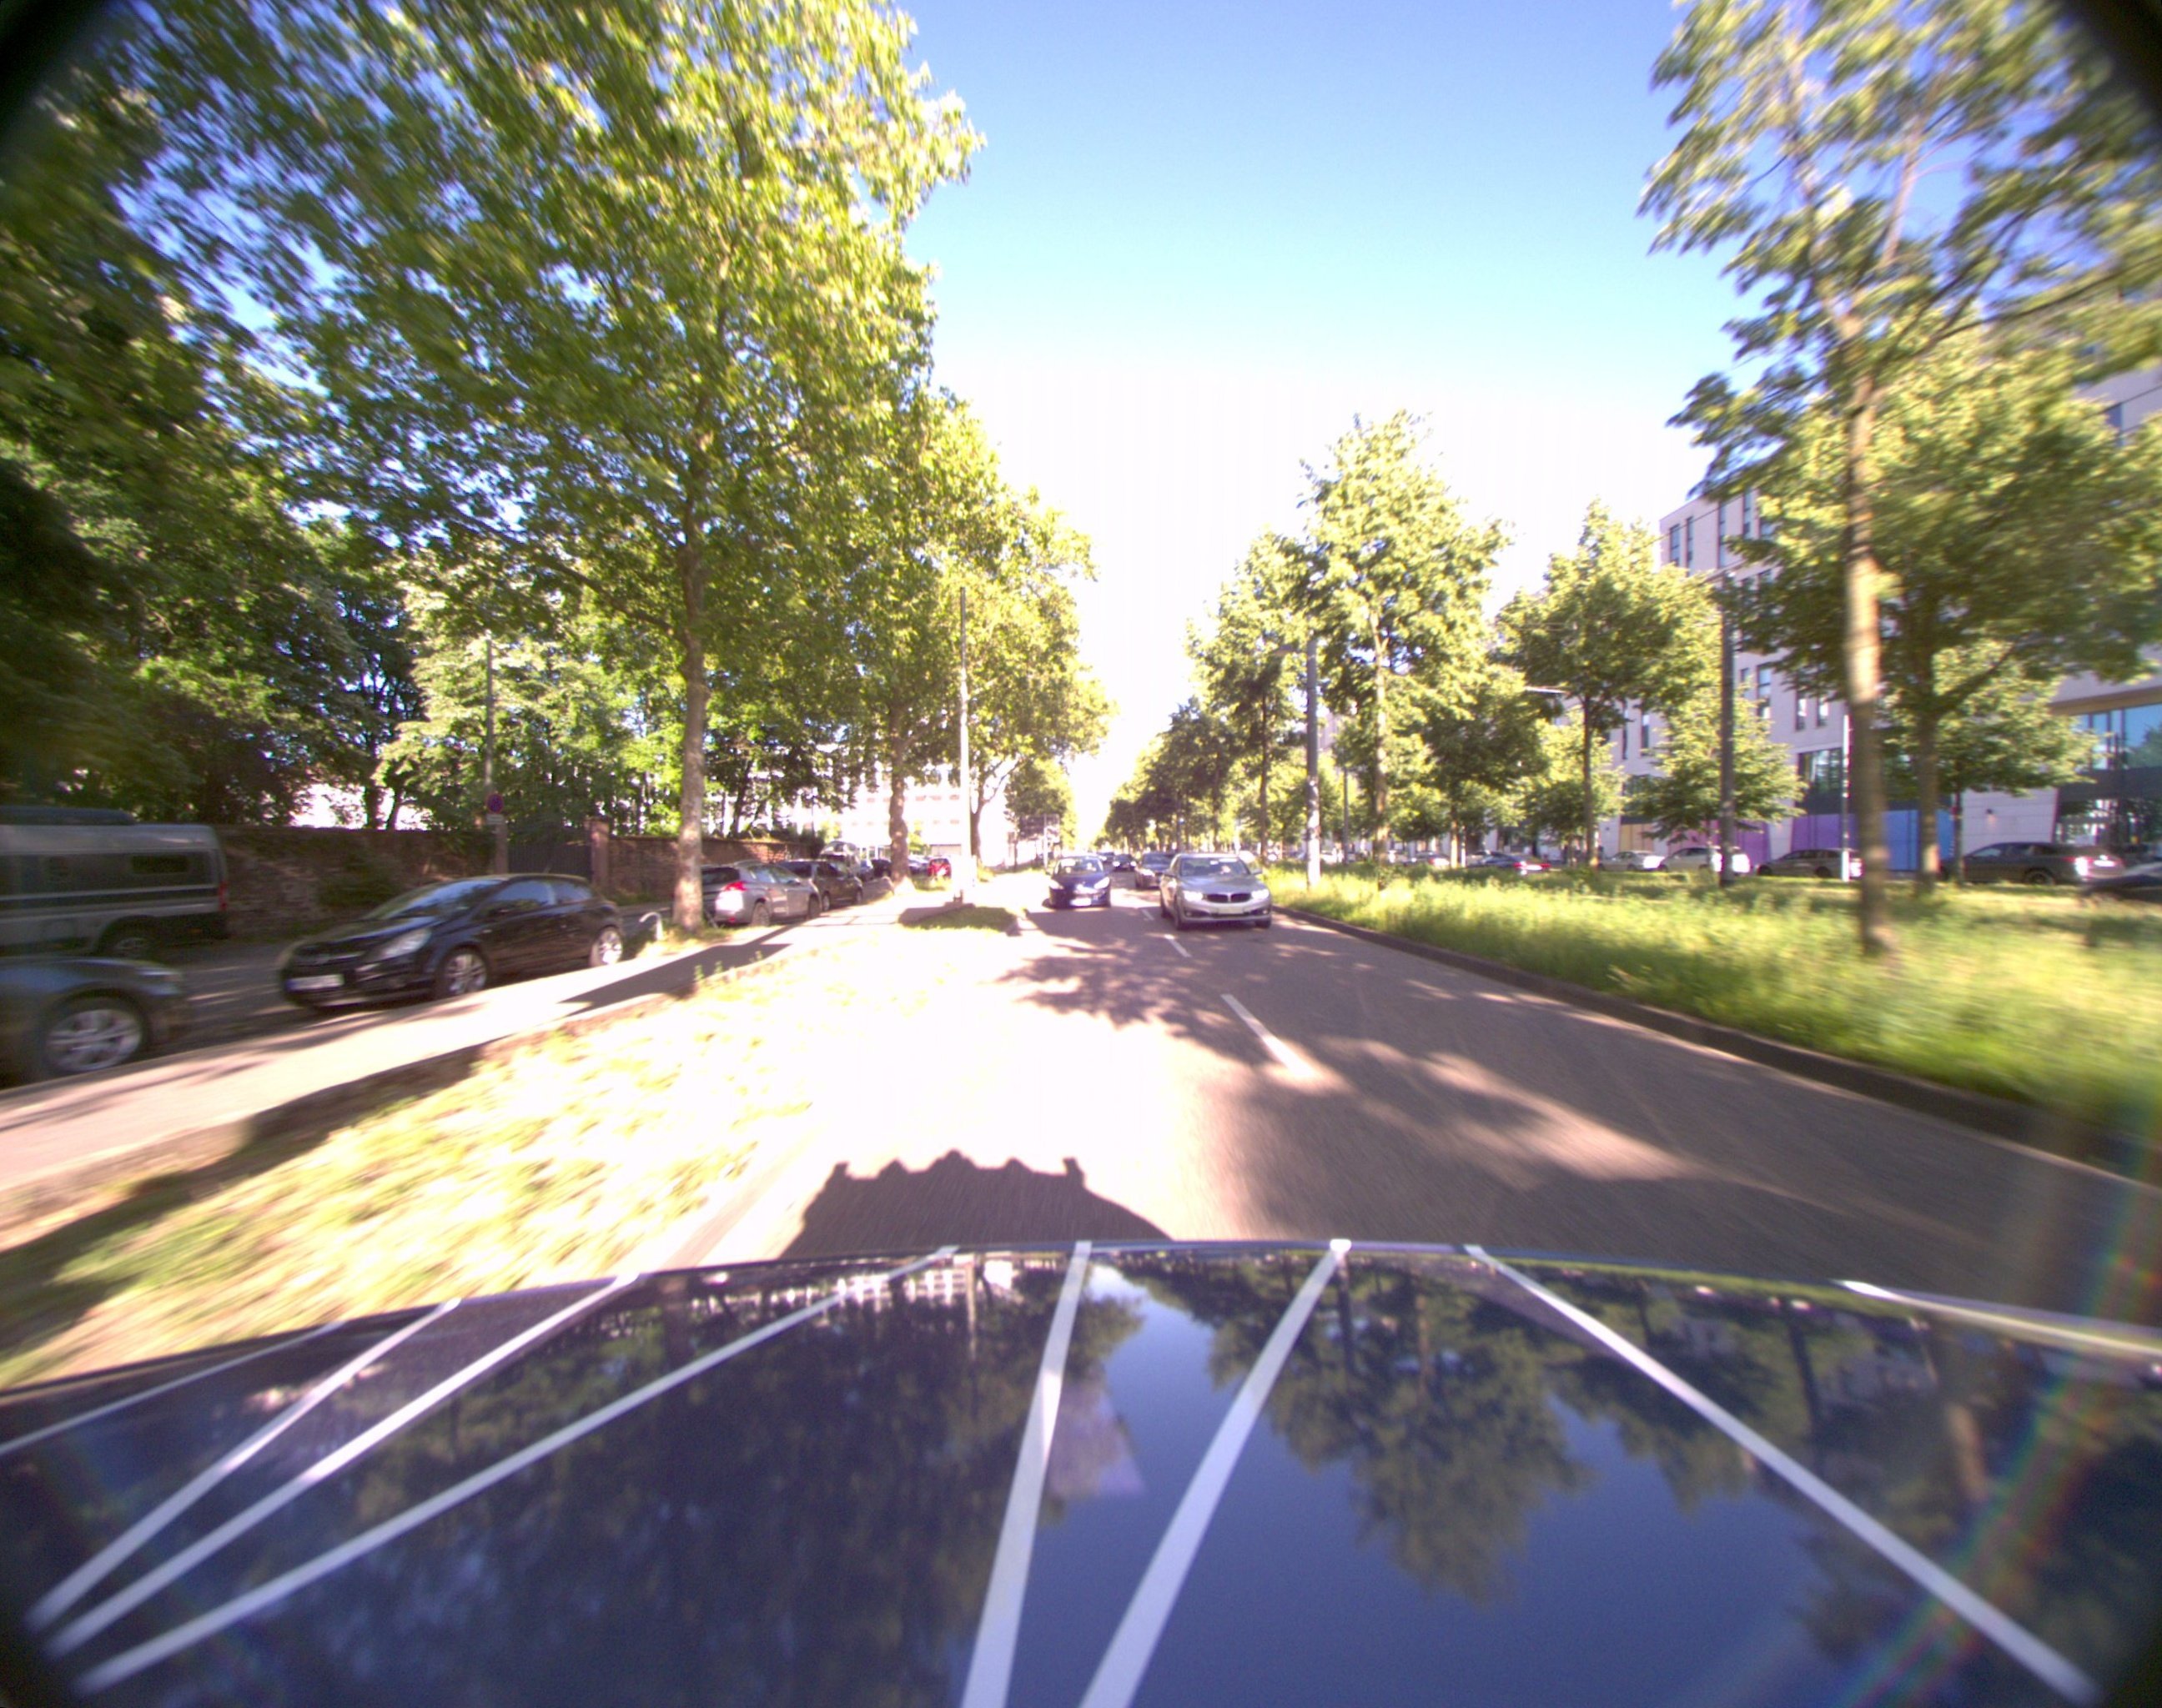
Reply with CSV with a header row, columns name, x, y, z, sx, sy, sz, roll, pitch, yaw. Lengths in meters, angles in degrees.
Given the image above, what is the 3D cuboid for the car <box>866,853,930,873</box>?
name,x,y,z,sx,sy,sz,roll,pitch,yaw
car,-15.169,0.721,63.171,4.731,1.398,2.000,2,1,1

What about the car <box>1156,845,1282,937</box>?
name,x,y,z,sx,sy,sz,roll,pitch,yaw
car,2.710,0.648,15.924,1.886,1.569,4.277,-2,1,1

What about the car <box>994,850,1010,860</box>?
name,x,y,z,sx,sy,sz,roll,pitch,yaw
car,-12.049,0.106,116.511,1.869,1.477,4.272,2,1,1

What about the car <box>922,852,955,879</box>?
name,x,y,z,sx,sy,sz,roll,pitch,yaw
car,-9.579,0.725,51.150,2.000,1.630,3.996,-3,1,-11

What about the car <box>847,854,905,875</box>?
name,x,y,z,sx,sy,sz,roll,pitch,yaw
car,-15.749,0.822,58.514,3.998,1.496,1.765,-1,1,-2

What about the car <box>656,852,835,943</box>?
name,x,y,z,sx,sy,sz,roll,pitch,yaw
car,-7.122,0.836,16.659,1.797,1.551,4.020,-4,1,4

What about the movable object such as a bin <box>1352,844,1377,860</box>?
name,x,y,z,sx,sy,sz,roll,pitch,yaw
movable object such as a bin,32.060,-0.246,86.086,1.975,1.784,2.010,-3,1,-2

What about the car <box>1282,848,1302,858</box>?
name,x,y,z,sx,sy,sz,roll,pitch,yaw
car,32.925,-0.150,118.737,1.728,1.405,4.336,-1,1,-3

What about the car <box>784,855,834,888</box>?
name,x,y,z,sx,sy,sz,roll,pitch,yaw
car,-14.693,0.905,41.243,1.846,1.608,3.996,2,0,-10

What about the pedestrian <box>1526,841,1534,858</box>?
name,x,y,z,sx,sy,sz,roll,pitch,yaw
pedestrian,41.666,-0.391,70.547,0.501,1.540,0.523,-1,2,43

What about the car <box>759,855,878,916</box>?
name,x,y,z,sx,sy,sz,roll,pitch,yaw
car,-8.378,0.925,24.735,1.797,1.625,4.627,-2,1,6

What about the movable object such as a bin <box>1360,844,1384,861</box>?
name,x,y,z,sx,sy,sz,roll,pitch,yaw
movable object such as a bin,32.160,-0.214,84.029,1.975,1.784,1.555,-3,1,-1

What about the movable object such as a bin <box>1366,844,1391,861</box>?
name,x,y,z,sx,sy,sz,roll,pitch,yaw
movable object such as a bin,32.170,-0.183,82.227,1.975,1.784,1.555,-3,1,-1

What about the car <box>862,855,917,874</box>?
name,x,y,z,sx,sy,sz,roll,pitch,yaw
car,-15.330,0.833,60.889,3.996,1.384,1.620,1,1,4

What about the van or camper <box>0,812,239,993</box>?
name,x,y,z,sx,sy,sz,roll,pitch,yaw
van or camper,-17.232,0.688,10.967,2.561,2.668,6.567,1,1,6

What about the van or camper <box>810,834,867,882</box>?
name,x,y,z,sx,sy,sz,roll,pitch,yaw
van or camper,-14.811,0.201,46.698,1.999,2.715,4.962,2,1,-2

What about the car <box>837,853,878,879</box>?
name,x,y,z,sx,sy,sz,roll,pitch,yaw
car,-15.181,0.812,51.877,2.000,1.565,3.997,2,1,-6

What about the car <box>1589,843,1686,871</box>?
name,x,y,z,sx,sy,sz,roll,pitch,yaw
car,31.910,0.122,43.750,1.999,1.433,4.777,-3,1,-2

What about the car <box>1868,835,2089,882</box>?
name,x,y,z,sx,sy,sz,roll,pitch,yaw
car,31.702,0.109,27.129,1.999,1.433,4.935,-3,1,-2

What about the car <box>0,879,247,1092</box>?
name,x,y,z,sx,sy,sz,roll,pitch,yaw
car,-8.404,0.999,4.276,1.998,1.373,4.678,-3,1,4

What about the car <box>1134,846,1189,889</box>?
name,x,y,z,sx,sy,sz,roll,pitch,yaw
car,3.208,0.498,30.868,1.950,1.514,4.000,-2,1,3

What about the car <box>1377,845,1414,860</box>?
name,x,y,z,sx,sy,sz,roll,pitch,yaw
car,32.419,-0.139,78.481,1.999,1.433,4.018,-3,1,-1

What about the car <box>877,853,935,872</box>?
name,x,y,z,sx,sy,sz,roll,pitch,yaw
car,-15.173,0.719,66.015,4.390,1.403,2.000,3,1,3

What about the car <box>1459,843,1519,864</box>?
name,x,y,z,sx,sy,sz,roll,pitch,yaw
car,32.381,-0.072,60.420,1.999,1.433,4.924,-3,1,-2

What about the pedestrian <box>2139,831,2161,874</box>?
name,x,y,z,sx,sy,sz,roll,pitch,yaw
pedestrian,42.098,-0.071,29.664,0.637,1.641,0.719,-3,2,-6

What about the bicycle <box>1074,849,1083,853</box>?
name,x,y,z,sx,sy,sz,roll,pitch,yaw
bicycle,-0.587,-0.693,178.770,1.927,0.899,0.647,-1,1,4

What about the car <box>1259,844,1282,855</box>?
name,x,y,z,sx,sy,sz,roll,pitch,yaw
car,25.584,-0.638,102.840,1.998,1.433,5.110,-2,1,2

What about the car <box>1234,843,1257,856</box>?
name,x,y,z,sx,sy,sz,roll,pitch,yaw
car,22.400,-0.636,103.701,1.998,1.676,5.109,-3,1,0

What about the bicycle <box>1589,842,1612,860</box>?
name,x,y,z,sx,sy,sz,roll,pitch,yaw
bicycle,39.468,-0.242,57.710,0.599,1.273,1.608,-3,1,-1

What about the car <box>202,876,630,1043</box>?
name,x,y,z,sx,sy,sz,roll,pitch,yaw
car,-7.854,1.123,9.589,1.797,1.430,3.884,-2,1,3

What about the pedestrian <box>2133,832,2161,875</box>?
name,x,y,z,sx,sy,sz,roll,pitch,yaw
pedestrian,41.282,-0.028,29.232,0.637,1.641,0.720,-3,2,-1

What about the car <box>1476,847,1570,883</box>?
name,x,y,z,sx,sy,sz,roll,pitch,yaw
car,20.510,0.472,35.490,1.998,1.433,4.456,-2,1,3

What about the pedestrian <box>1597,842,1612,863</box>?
name,x,y,z,sx,sy,sz,roll,pitch,yaw
pedestrian,40.715,-0.111,59.055,0.637,1.641,0.720,-3,2,-1

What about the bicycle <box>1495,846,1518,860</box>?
name,x,y,z,sx,sy,sz,roll,pitch,yaw
bicycle,39.465,-0.100,70.503,0.949,1.273,2.772,-2,1,8

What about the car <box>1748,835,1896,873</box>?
name,x,y,z,sx,sy,sz,roll,pitch,yaw
car,31.886,-0.031,32.901,1.999,1.433,4.454,-3,1,-2

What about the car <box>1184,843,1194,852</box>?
name,x,y,z,sx,sy,sz,roll,pitch,yaw
car,27.053,-1.669,189.951,1.998,2.002,4.000,-2,1,4

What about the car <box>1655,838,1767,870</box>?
name,x,y,z,sx,sy,sz,roll,pitch,yaw
car,31.842,-0.048,38.592,1.998,1.433,4.455,-2,1,1

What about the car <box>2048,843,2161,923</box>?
name,x,y,z,sx,sy,sz,roll,pitch,yaw
car,22.908,0.601,15.072,1.998,1.519,4.318,-2,1,1

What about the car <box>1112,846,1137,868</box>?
name,x,y,z,sx,sy,sz,roll,pitch,yaw
car,3.446,0.214,60.597,1.782,1.571,3.783,-2,1,1

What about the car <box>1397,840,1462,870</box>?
name,x,y,z,sx,sy,sz,roll,pitch,yaw
car,23.061,0.044,50.545,1.998,1.830,5.250,-1,0,1

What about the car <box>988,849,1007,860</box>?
name,x,y,z,sx,sy,sz,roll,pitch,yaw
car,-12.258,0.093,111.427,1.998,1.477,4.402,2,1,3

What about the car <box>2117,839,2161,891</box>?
name,x,y,z,sx,sy,sz,roll,pitch,yaw
car,31.860,0.313,20.401,1.999,1.433,4.454,-3,1,-2

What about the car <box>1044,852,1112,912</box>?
name,x,y,z,sx,sy,sz,roll,pitch,yaw
car,-0.018,0.749,22.386,1.766,1.462,4.000,-2,1,2

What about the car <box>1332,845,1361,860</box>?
name,x,y,z,sx,sy,sz,roll,pitch,yaw
car,32.816,-0.217,94.091,1.999,1.719,4.337,-3,1,-2
